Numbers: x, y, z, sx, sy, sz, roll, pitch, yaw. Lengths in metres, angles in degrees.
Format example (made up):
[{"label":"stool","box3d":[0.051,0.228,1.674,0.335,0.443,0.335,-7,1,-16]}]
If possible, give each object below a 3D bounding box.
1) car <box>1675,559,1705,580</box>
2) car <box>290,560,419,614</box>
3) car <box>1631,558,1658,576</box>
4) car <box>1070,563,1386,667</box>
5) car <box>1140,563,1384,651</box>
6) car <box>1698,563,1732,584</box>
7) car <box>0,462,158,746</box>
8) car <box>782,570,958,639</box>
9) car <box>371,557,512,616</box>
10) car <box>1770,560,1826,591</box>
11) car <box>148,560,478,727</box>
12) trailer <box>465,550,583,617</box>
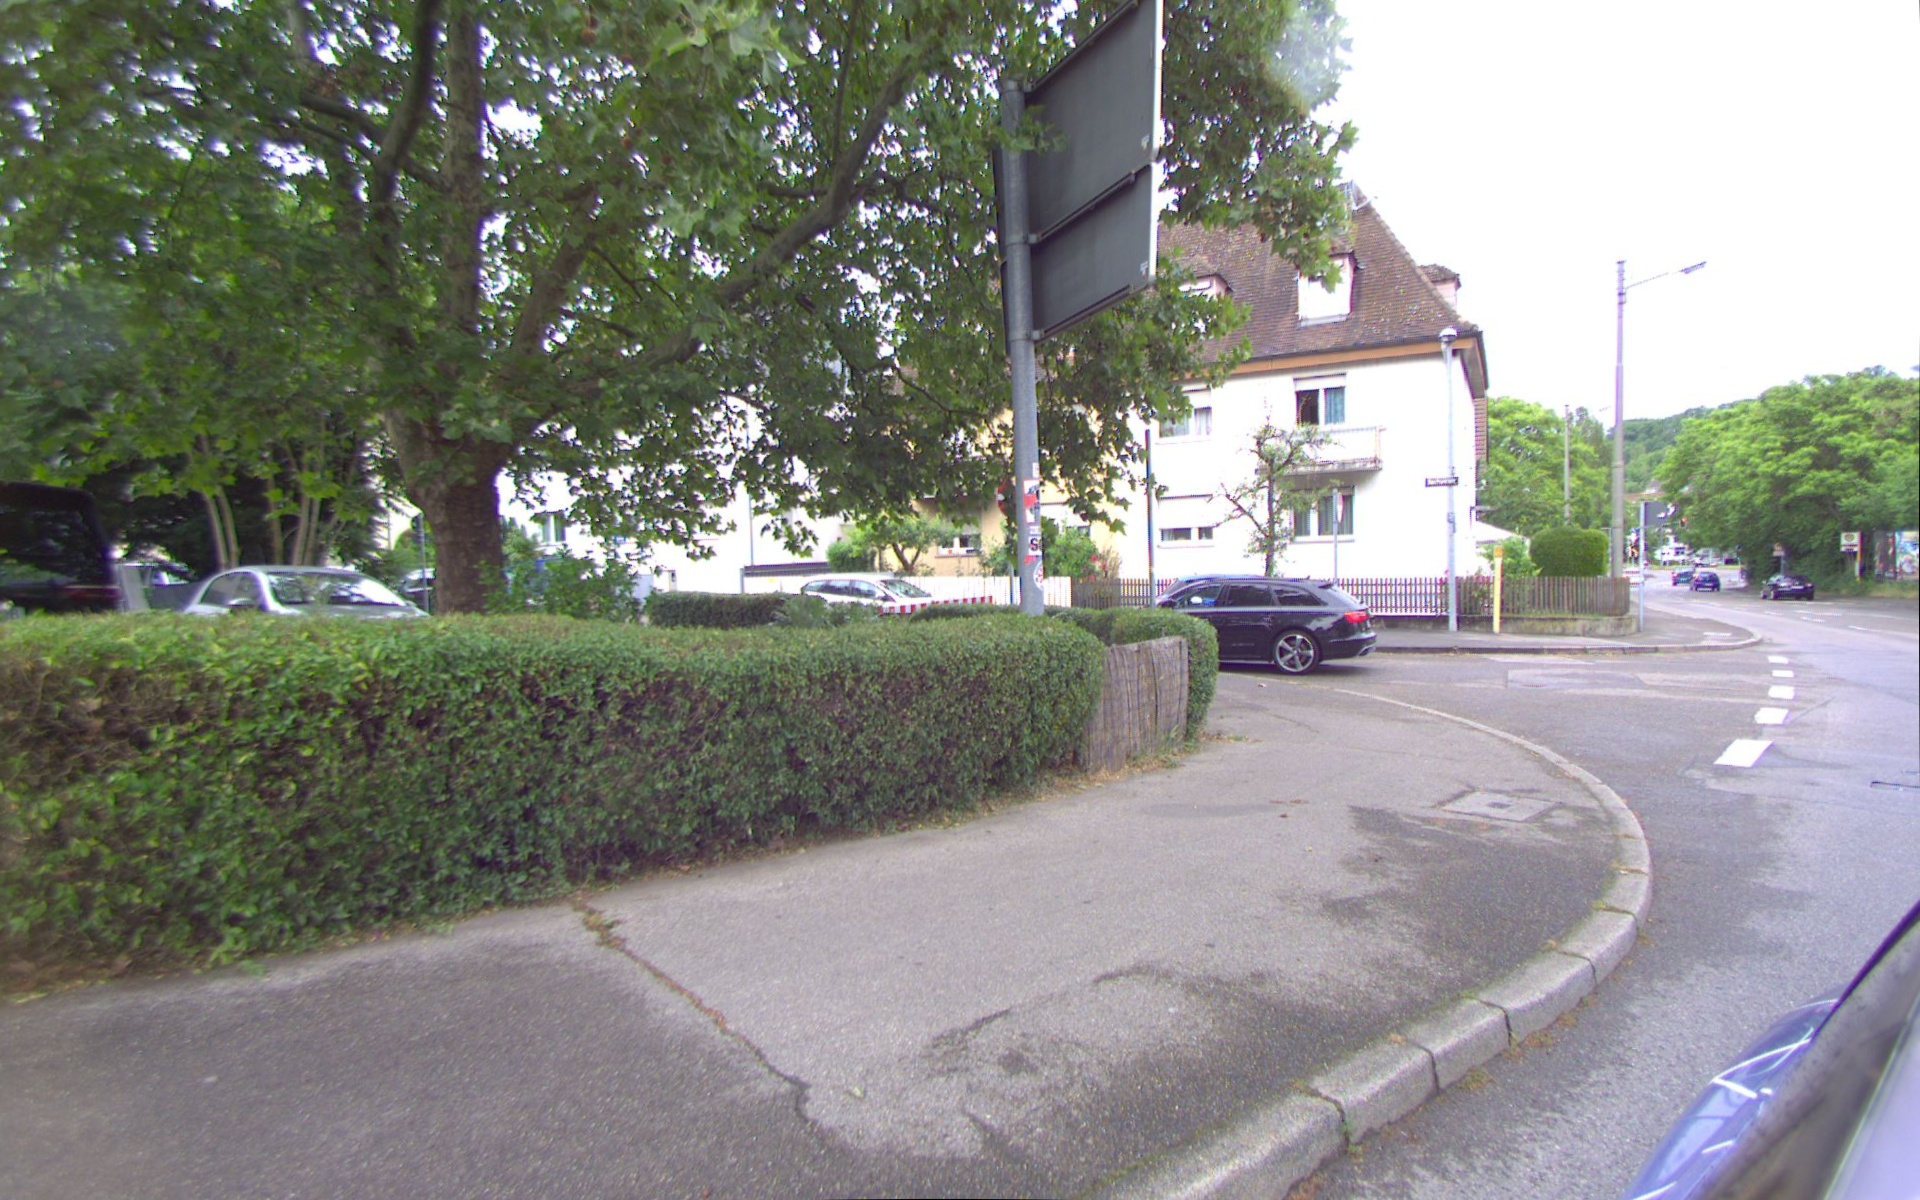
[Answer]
[{"label":"car","box3d":[70.566,-2.918,97.857,1.948,1.955,4.632,1,2,31]},{"label":"car","box3d":[-22.094,-0.499,36.891,4.535,1.862,1.982,1,2,28]},{"label":"car","box3d":[63.717,-3.088,94.267,1.822,1.598,4.288,-1,1,31]},{"label":"car","box3d":[4.355,0.153,16.545,4.768,1.498,1.870,1,2,25]},{"label":"car","box3d":[5.670,0.058,19.149,4.095,1.498,1.865,1,2,32]},{"label":"car","box3d":[57.882,-2.022,77.628,1.589,1.442,3.662,2,4,29]},{"label":"car","box3d":[-8.553,0.005,7.980,4.376,1.956,1.980,1,2,29]},{"label":"car","box3d":[-2.099,0.064,23.398,3.752,1.471,1.754,1,1,30]},{"label":"car","box3d":[-17.525,-0.487,34.176,4.535,1.862,1.982,1,2,28]},{"label":"car","box3d":[45.707,-1.342,55.284,1.835,1.589,4.360,1,1,33]},{"label":"car","box3d":[-7.463,0.367,11.577,3.974,1.599,1.800,1,2,35]},{"label":"trailer","box3d":[-13.943,-0.546,32.369,3.456,2.038,1.657,1,1,26]}]
